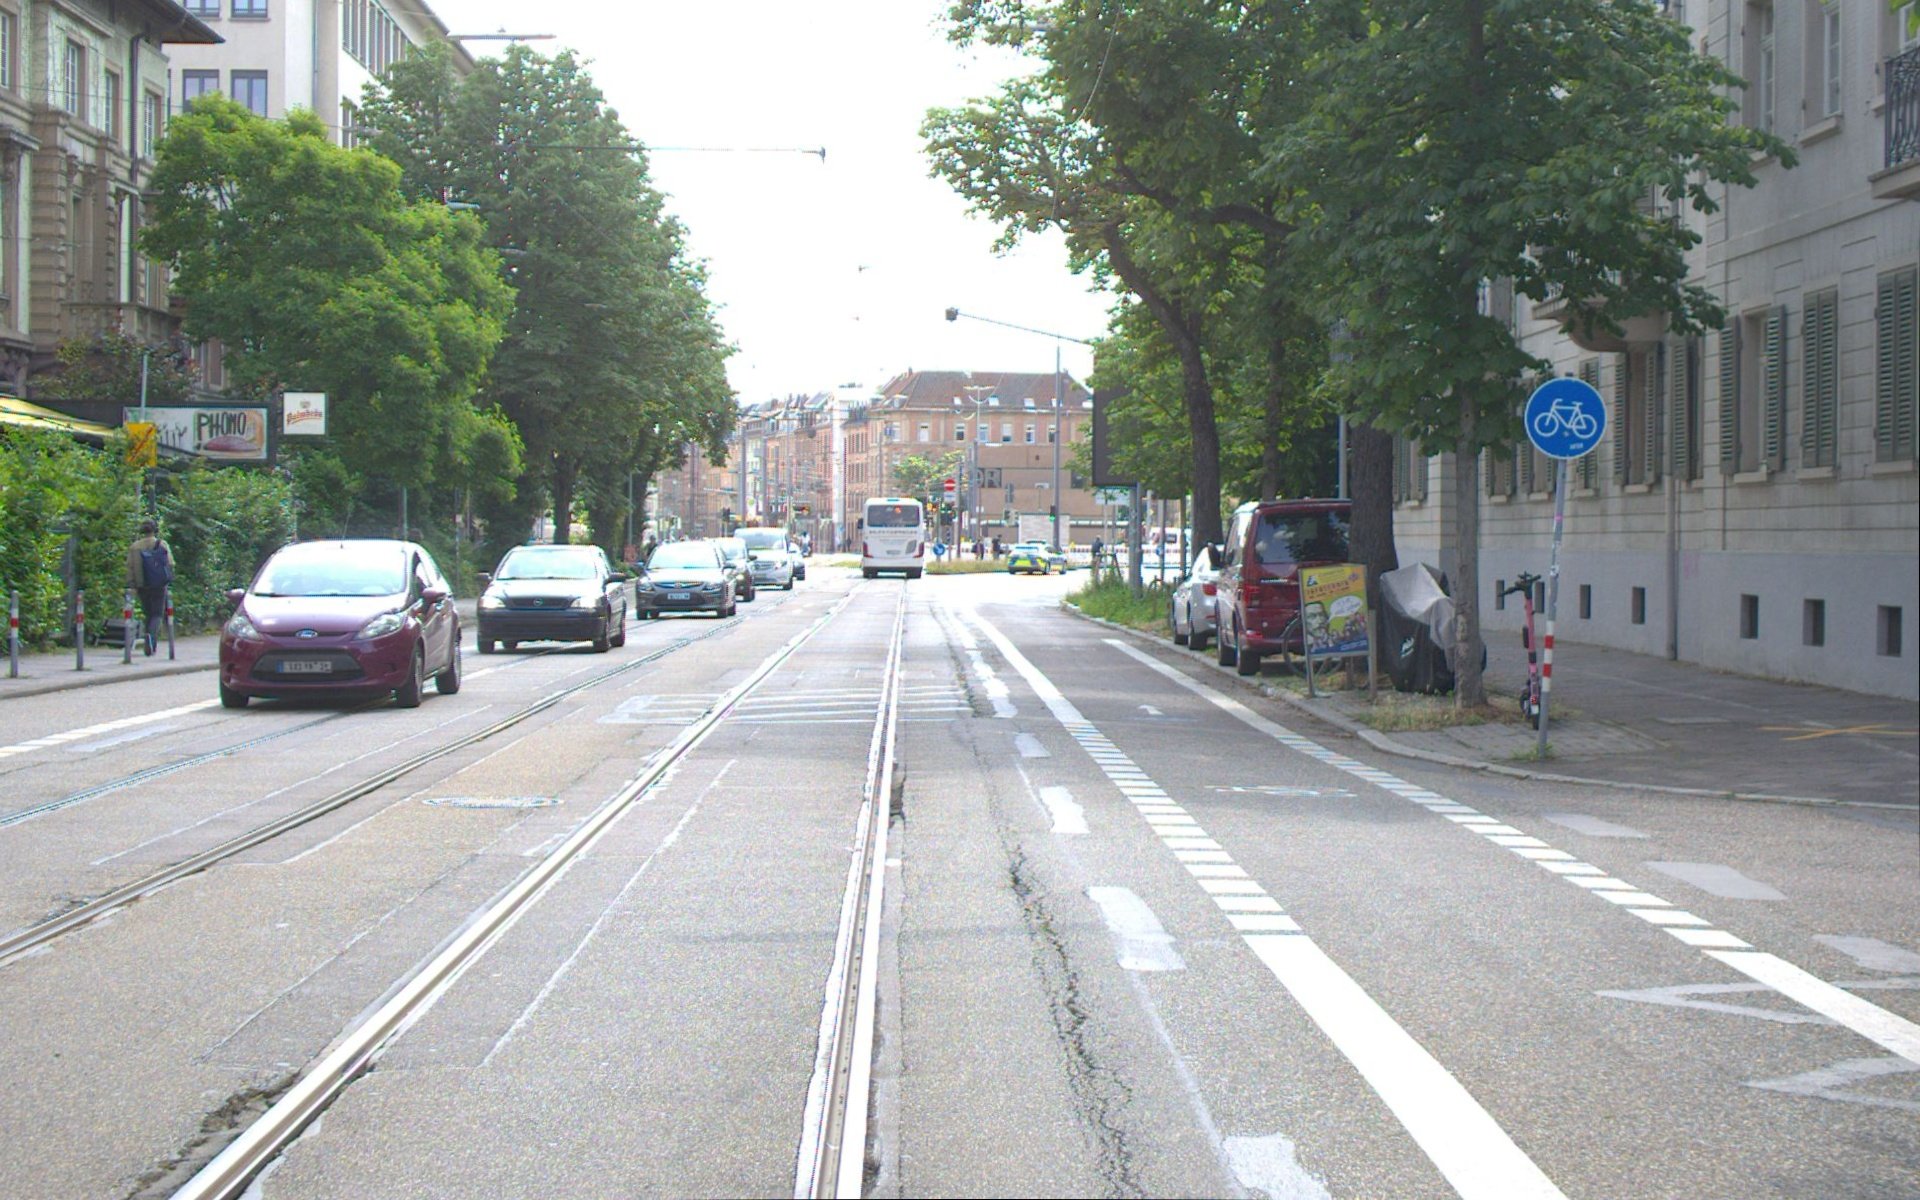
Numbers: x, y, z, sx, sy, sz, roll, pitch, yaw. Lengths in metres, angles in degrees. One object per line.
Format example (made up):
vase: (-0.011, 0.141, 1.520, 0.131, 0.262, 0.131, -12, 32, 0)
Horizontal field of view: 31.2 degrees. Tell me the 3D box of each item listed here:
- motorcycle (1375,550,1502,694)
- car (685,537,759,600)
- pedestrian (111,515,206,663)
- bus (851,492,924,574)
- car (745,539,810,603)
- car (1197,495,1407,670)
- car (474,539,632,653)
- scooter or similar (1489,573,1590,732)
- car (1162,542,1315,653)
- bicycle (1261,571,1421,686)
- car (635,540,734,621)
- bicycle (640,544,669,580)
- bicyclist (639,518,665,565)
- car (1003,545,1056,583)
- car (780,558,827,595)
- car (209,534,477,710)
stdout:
motorcycle: (4.561, 0.185, 32.922, 0.857, 1.317, 2.445, 1, 1, 0)
car: (-5.937, -0.804, 86.087, 1.631, 1.551, 3.822, 0, 1, 0)
pedestrian: (-10.489, -0.152, 45.027, 1.059, 1.911, 0.829, 0, 1, -1)
bus: (-3.127, -2.795, 147.773, 2.917, 3.317, 12.207, 1, 0, -1)
car: (-5.533, -0.907, 104.869, 1.897, 1.901, 5.385, 0, 1, -2)
car: (3.966, -0.235, 40.579, 1.895, 1.934, 4.951, 0, 1, -1)
car: (-5.319, -0.084, 45.317, 1.628, 1.402, 4.129, 1, 1, -1)
scooter or similar: (4.739, 0.412, 28.195, 0.532, 1.247, 1.720, 0, 1, 0)
car: (3.905, -0.078, 48.825, 1.707, 1.493, 4.789, 0, 1, -1)
bicycle: (4.061, 0.300, 36.690, 1.610, 1.199, 0.590, 0, 1, -3)
car: (-5.376, -0.408, 67.546, 1.727, 1.535, 4.277, -1, 1, -2)
bicycle: (-9.996, -1.235, 112.424, 0.602, 1.093, 2.023, -5, 1, 2)
bicyclist: (-10.058, -1.918, 112.307, 0.599, 1.487, 0.882, -5, 1, 2)
car: (3.308, -1.730, 163.044, 2.130, 1.678, 4.101, 2, 2, 6)
car: (-6.049, -0.928, 133.114, 1.688, 1.397, 3.931, 0, 1, -1)
car: (-5.421, 0.149, 30.621, 1.594, 1.435, 3.936, -1, 1, 1)
